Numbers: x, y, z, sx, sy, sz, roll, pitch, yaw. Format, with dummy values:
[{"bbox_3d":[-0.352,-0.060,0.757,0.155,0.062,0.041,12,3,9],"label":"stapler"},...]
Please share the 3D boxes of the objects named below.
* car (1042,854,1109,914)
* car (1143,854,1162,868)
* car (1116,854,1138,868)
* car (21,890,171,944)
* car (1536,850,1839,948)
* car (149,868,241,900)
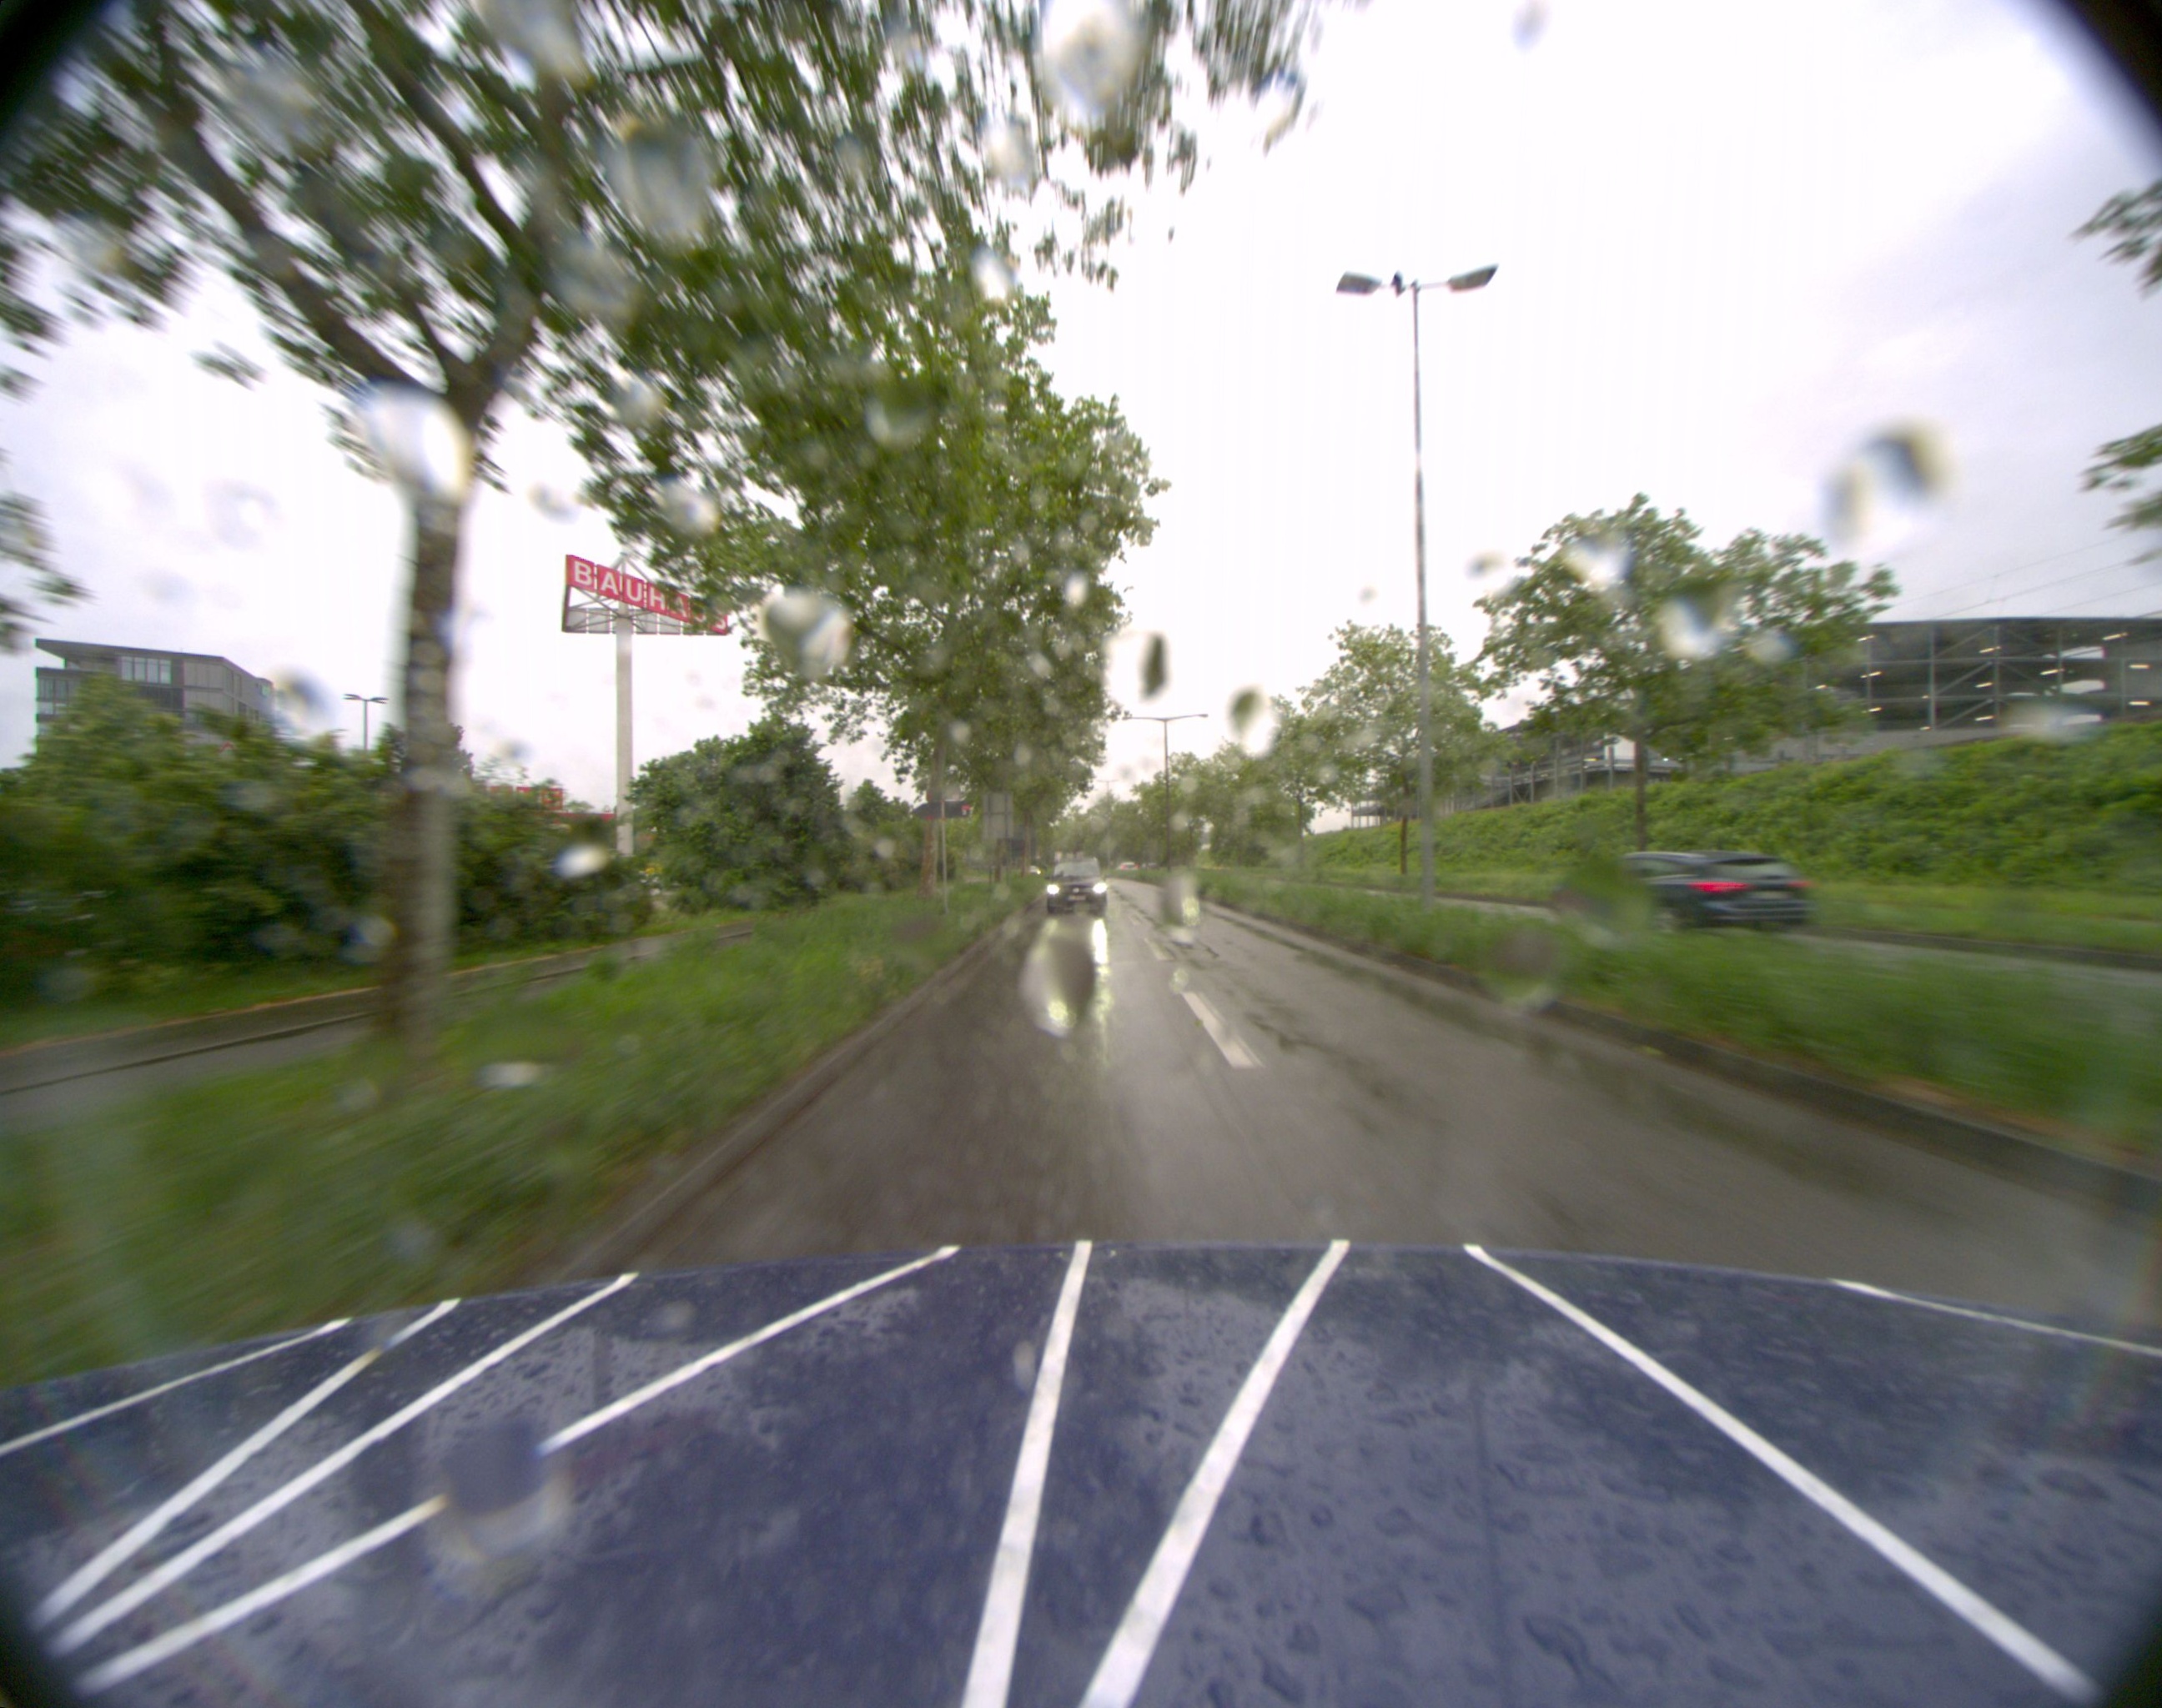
[{"bbox_3d":[-0.058,0.878,24.306,1.788,1.605,4.717,-3,0,3],"label":"car"},{"bbox_3d":[7.989,0.767,84.902,1.635,1.417,4.000,-2,0,0],"label":"car"},{"bbox_3d":[5.084,0.804,84.355,1.707,1.486,4.202,-2,0,-7],"label":"car"},{"bbox_3d":[-32.411,2.001,25.165,1.788,1.470,4.065,-2,0,-34],"label":"car"},{"bbox_3d":[10.596,0.683,13.827,1.936,1.436,4.496,-2,0,1],"label":"car"},{"bbox_3d":[-49.535,1.636,42.580,1.942,1.625,4.022,-2,0,-27],"label":"car"}]
